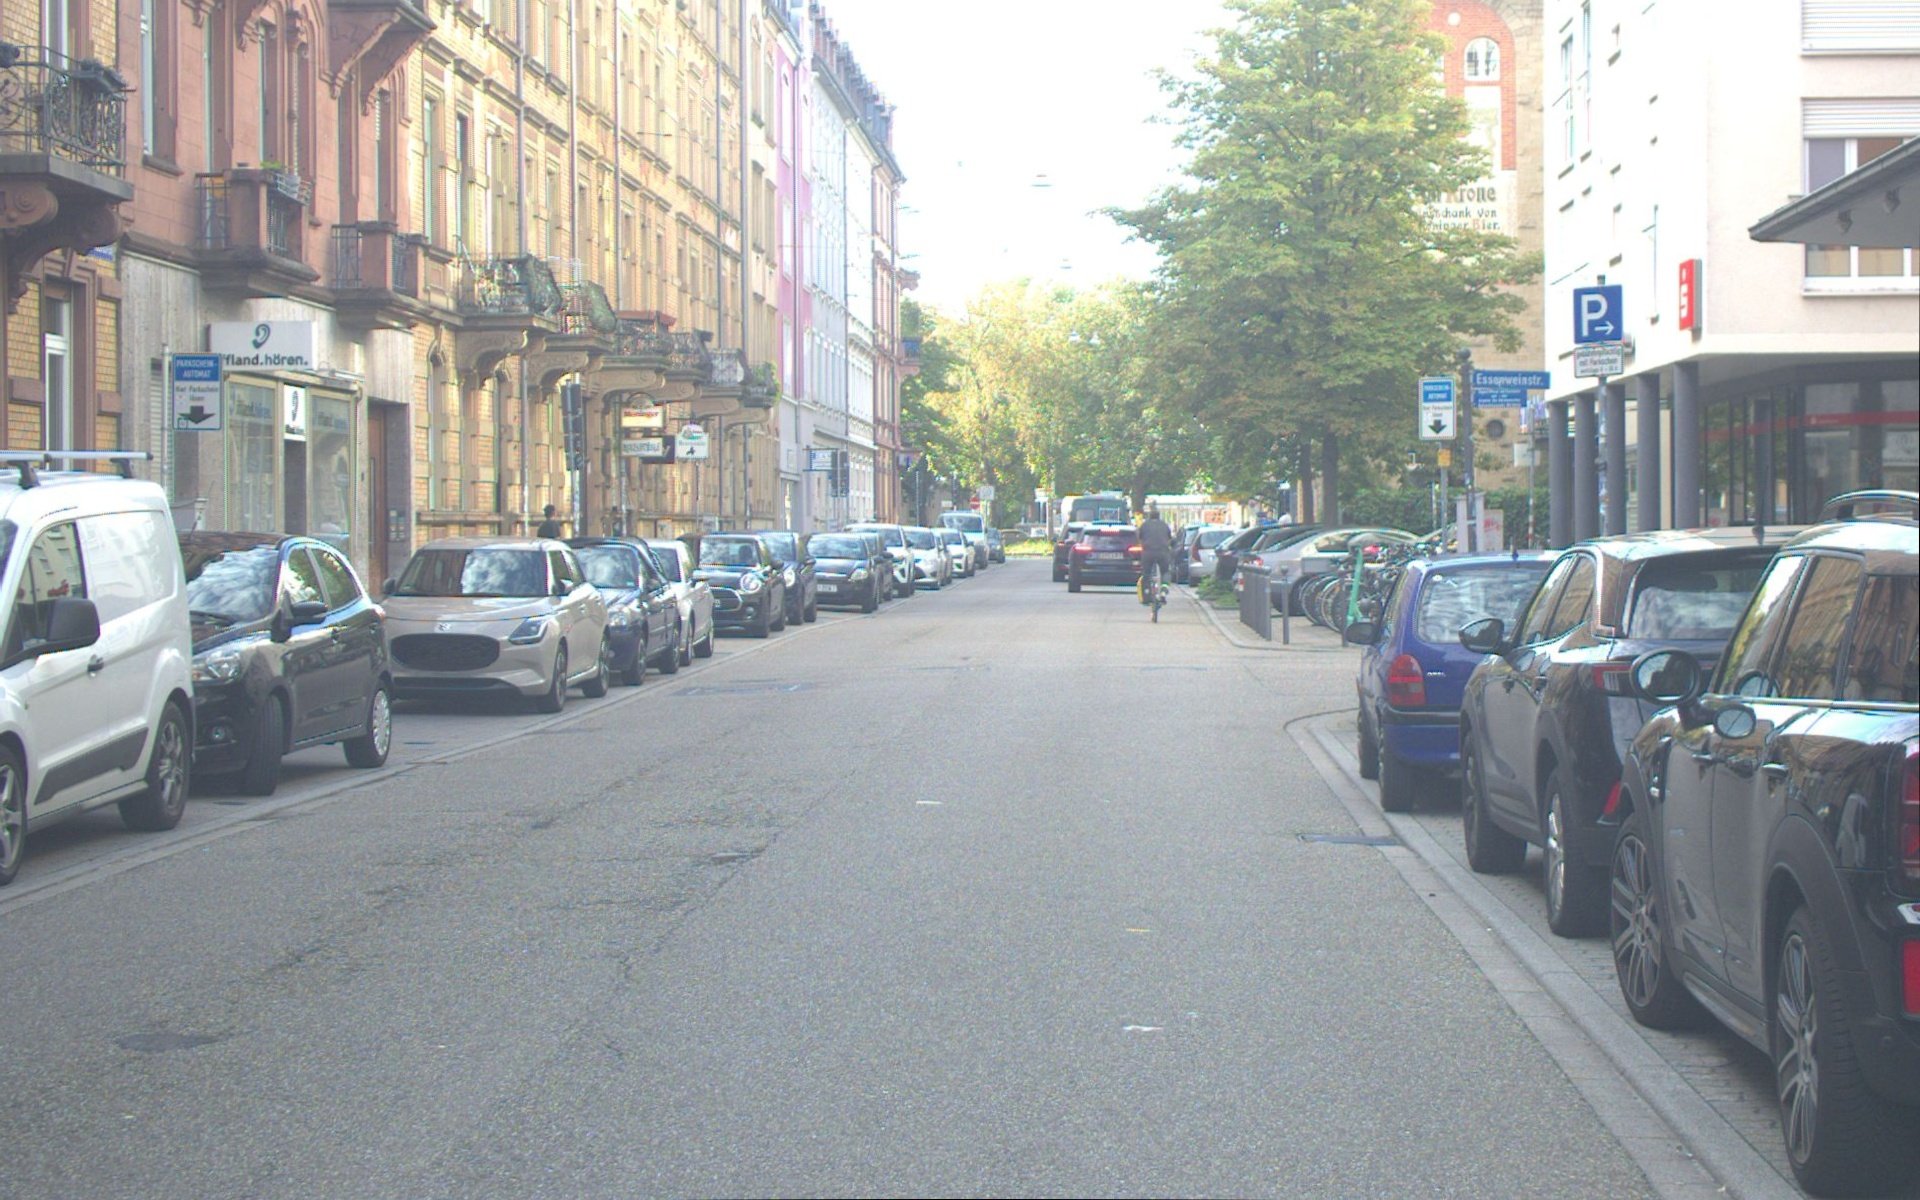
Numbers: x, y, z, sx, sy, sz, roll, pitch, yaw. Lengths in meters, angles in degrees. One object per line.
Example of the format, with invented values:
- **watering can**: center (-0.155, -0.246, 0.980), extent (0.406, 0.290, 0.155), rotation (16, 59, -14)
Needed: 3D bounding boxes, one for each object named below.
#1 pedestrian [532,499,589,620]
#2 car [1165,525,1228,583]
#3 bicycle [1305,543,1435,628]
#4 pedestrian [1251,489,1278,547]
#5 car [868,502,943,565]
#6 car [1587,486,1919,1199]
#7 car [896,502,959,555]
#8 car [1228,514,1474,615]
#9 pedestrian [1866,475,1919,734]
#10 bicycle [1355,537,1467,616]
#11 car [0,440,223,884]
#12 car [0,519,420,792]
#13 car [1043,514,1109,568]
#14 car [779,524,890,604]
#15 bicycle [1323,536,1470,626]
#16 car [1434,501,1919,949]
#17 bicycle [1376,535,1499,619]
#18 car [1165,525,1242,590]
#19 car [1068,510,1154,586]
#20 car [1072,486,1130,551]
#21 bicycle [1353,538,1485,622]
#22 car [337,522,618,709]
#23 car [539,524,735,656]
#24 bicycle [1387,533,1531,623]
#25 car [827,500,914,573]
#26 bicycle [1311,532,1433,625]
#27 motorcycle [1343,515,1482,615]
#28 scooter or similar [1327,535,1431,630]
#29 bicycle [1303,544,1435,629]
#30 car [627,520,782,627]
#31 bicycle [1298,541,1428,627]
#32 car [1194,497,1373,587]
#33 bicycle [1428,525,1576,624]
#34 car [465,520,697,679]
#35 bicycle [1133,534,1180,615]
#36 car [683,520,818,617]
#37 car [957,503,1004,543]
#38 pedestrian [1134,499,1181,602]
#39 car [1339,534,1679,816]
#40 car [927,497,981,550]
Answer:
- **pedestrian**: center (-6.204, -0.636, 53.379), extent (0.689, 1.847, 0.931), rotation (1, 1, 4)
- **car**: center (6.557, -1.294, 95.490), extent (1.690, 1.545, 3.688), rotation (1, 1, 4)
- **bicycle**: center (5.746, -0.202, 48.270), extent (1.766, 1.115, 0.411), rotation (-2, 2, 6)
- **pedestrian**: center (11.813, -3.188, 133.353), extent (0.995, 2.222, 0.898), rotation (1, 1, 4)
- **car**: center (-1.398, -1.723, 88.905), extent (1.690, 1.545, 3.867), rotation (1, 1, 2)
- **car**: center (2.803, 0.501, 8.929), extent (1.792, 1.600, 3.924), rotation (-2, 1, 4)
- **car**: center (-0.955, -2.158, 104.186), extent (1.690, 1.545, 3.867), rotation (1, 1, 2)
- **car**: center (6.550, -0.598, 57.761), extent (3.759, 1.541, 1.731), rotation (-2, 0, -7)
- **pedestrian**: center (6.125, 0.020, 21.374), extent (0.824, 1.583, 0.780), rotation (0, 1, 5)
- **bicycle**: center (7.046, -0.364, 53.775), extent (1.664, 1.155, 0.557), rotation (-2, 2, 5)
- **car**: center (-4.930, 0.207, 15.963), extent (1.920, 1.865, 4.437), rotation (1, 2, 2)
- **car**: center (-4.578, 0.272, 21.030), extent (1.742, 1.478, 3.983), rotation (1, 1, 2)
- **car**: center (3.288, -1.693, 97.570), extent (1.797, 1.467, 3.888), rotation (1, 2, 2)
- **car**: center (-2.336, -0.700, 64.754), extent (1.690, 1.364, 3.867), rotation (3, 2, 3)
- **bicycle**: center (5.535, -0.244, 43.629), extent (1.765, 1.053, 0.411), rotation (-2, 2, -2)
- **car**: center (3.026, 0.403, 14.127), extent (1.688, 1.572, 3.902), rotation (-1, 1, 1)
- **bicycle**: center (7.011, -0.338, 50.533), extent (1.732, 1.155, 0.500), rotation (-2, 2, 5)
- **car**: center (6.422, -1.147, 90.952), extent (1.930, 1.632, 4.000), rotation (1, 2, 3)
- **car**: center (3.591, -1.224, 81.309), extent (1.965, 1.735, 4.041), rotation (1, 1, 3)
- **car**: center (4.538, -2.632, 110.924), extent (1.782, 2.013, 3.888), rotation (1, 2, 2)
- **bicycle**: center (6.616, -0.286, 49.561), extent (1.797, 1.155, 0.499), rotation (-1, 2, 29)
- **car**: center (-4.185, 0.081, 30.380), extent (1.742, 1.478, 3.983), rotation (1, 2, 2)
- **car**: center (-3.670, -0.157, 39.600), extent (1.690, 1.382, 3.867), rotation (1, 2, 3)
- **bicycle**: center (6.411, -0.285, 44.221), extent (1.766, 1.083, 0.650), rotation (-2, 2, 5)
- **car**: center (-1.979, -1.433, 77.014), extent (1.690, 1.545, 3.867), rotation (2, 1, 2)
- **bicycle**: center (5.394, -0.287, 45.022), extent (1.495, 1.142, 0.411), rotation (-2, 2, -2)
- **motorcycle**: center (7.301, -0.568, 55.446), extent (2.151, 1.525, 0.686), rotation (-2, 2, 8)
- **scooter or similar**: center (5.237, -0.221, 43.023), extent (1.208, 1.143, 0.378), rotation (-1, 3, 35)
- **bicycle**: center (5.649, -0.182, 47.530), extent (1.766, 1.095, 0.411), rotation (-2, 2, 6)
- **car**: center (-3.550, -0.408, 48.347), extent (1.690, 1.382, 3.867), rotation (1, 2, 3)
- **bicycle**: center (5.762, -0.228, 49.205), extent (1.794, 1.155, 0.500), rotation (-2, 2, 6)
- **car**: center (7.437, -1.332, 78.802), extent (3.988, 1.678, 1.737), rotation (-2, 9, 7)
- **bicycle**: center (6.793, -0.321, 43.150), extent (1.766, 1.158, 0.650), rotation (-2, 2, 5)
- **car**: center (-3.840, -0.050, 35.423), extent (1.742, 1.478, 3.983), rotation (1, 2, 3)
- **bicycle**: center (3.189, -0.427, 55.683), extent (0.718, 1.270, 1.884), rotation (1, 2, 4)
- **car**: center (-3.285, -0.527, 54.488), extent (1.690, 1.432, 3.867), rotation (1, 2, 3)
- **car**: center (0.828, -3.038, 135.764), extent (1.690, 1.545, 3.867), rotation (1, 1, 2)
- **pedestrian**: center (3.198, -0.803, 55.726), extent (0.718, 1.644, 0.930), rotation (1, 1, 4)
- **car**: center (3.114, 0.359, 20.137), extent (1.596, 1.434, 4.030), rotation (-1, 2, 4)
- **car**: center (-0.188, -2.681, 120.651), extent (1.690, 1.815, 3.867), rotation (1, 1, 2)
